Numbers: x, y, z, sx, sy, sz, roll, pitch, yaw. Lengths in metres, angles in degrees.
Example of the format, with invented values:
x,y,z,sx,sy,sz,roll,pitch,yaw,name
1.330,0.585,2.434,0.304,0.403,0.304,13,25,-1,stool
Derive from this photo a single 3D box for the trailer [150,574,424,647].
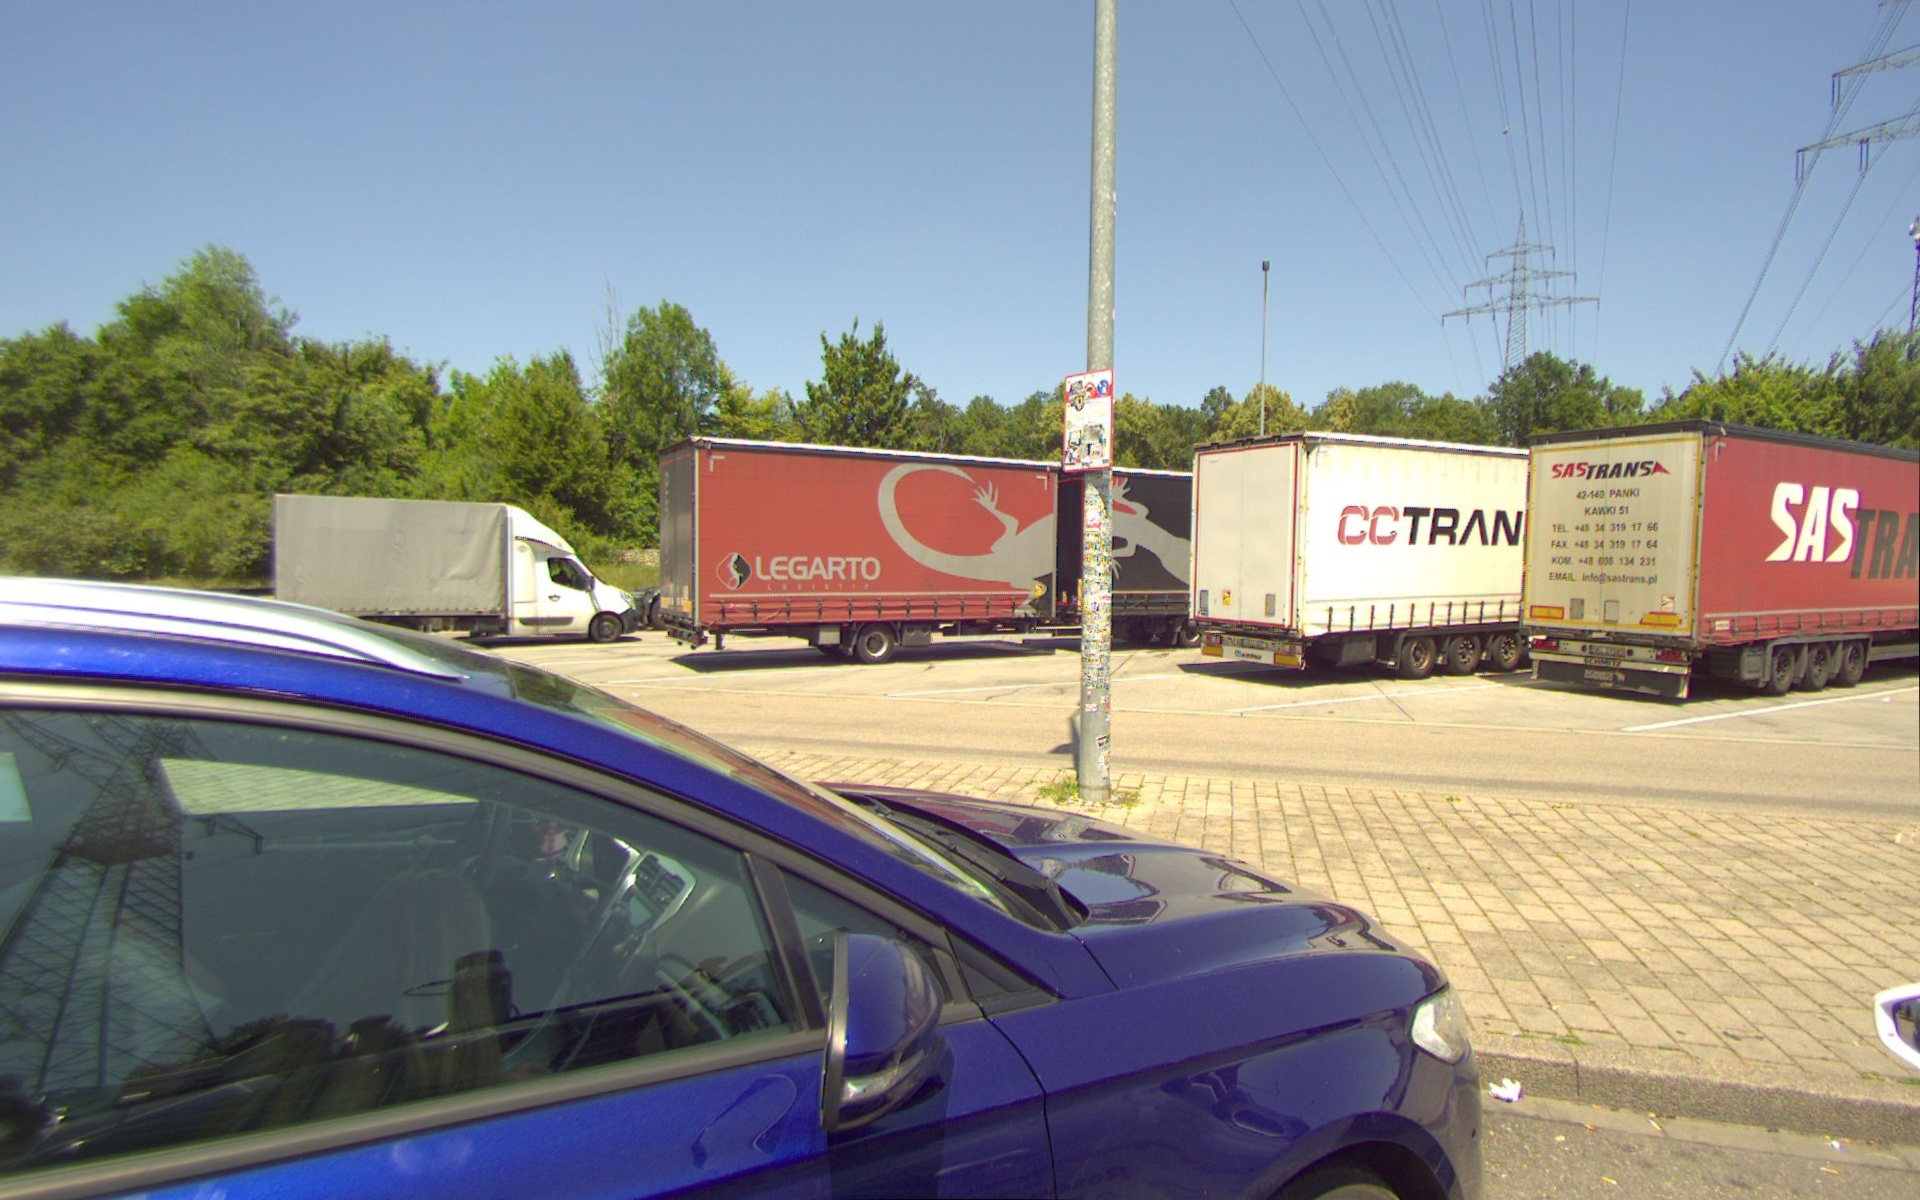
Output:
x,y,z,sx,sy,sz,roll,pitch,yaw,name
-15.956,0.246,24.186,5.332,1.617,1.585,0,0,-30,trailer

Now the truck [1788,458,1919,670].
x,y,z,sx,sy,sz,roll,pitch,yaw,name
21.136,-0.770,21.869,6.163,4.169,2.683,-1,3,-30,truck

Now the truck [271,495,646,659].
x,y,z,sx,sy,sz,roll,pitch,yaw,name
-11.121,-0.581,22.880,7.219,3.277,2.308,-2,3,-29,truck

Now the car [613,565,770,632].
x,y,z,sx,sy,sz,roll,pitch,yaw,name
-7.610,-0.042,28.522,3.953,1.773,1.902,0,0,-30,car

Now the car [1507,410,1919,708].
x,y,z,sx,sy,sz,roll,pitch,yaw,name
15.210,-0.690,18.458,12.777,4.169,2.683,-1,3,-30,car

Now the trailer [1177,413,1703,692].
x,y,z,sx,sy,sz,roll,pitch,yaw,name
10.105,-0.879,20.072,12.786,4.325,2.800,-1,2,-31,trailer

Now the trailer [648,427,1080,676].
x,y,z,sx,sy,sz,roll,pitch,yaw,name
-1.750,-0.926,20.510,8.389,4.248,2.800,-1,2,-30,trailer

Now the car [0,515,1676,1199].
x,y,z,sx,sy,sz,roll,pitch,yaw,name
-0.993,0.671,1.470,4.380,1.464,1.771,0,0,-32,car

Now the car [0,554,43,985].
x,y,z,sx,sy,sz,roll,pitch,yaw,name
-4.619,0.557,2.121,3.700,1.432,1.595,0,0,-32,car

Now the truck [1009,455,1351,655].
x,y,z,sx,sy,sz,roll,pitch,yaw,name
5.597,-1.074,24.833,8.683,4.248,2.800,-1,2,-30,truck
